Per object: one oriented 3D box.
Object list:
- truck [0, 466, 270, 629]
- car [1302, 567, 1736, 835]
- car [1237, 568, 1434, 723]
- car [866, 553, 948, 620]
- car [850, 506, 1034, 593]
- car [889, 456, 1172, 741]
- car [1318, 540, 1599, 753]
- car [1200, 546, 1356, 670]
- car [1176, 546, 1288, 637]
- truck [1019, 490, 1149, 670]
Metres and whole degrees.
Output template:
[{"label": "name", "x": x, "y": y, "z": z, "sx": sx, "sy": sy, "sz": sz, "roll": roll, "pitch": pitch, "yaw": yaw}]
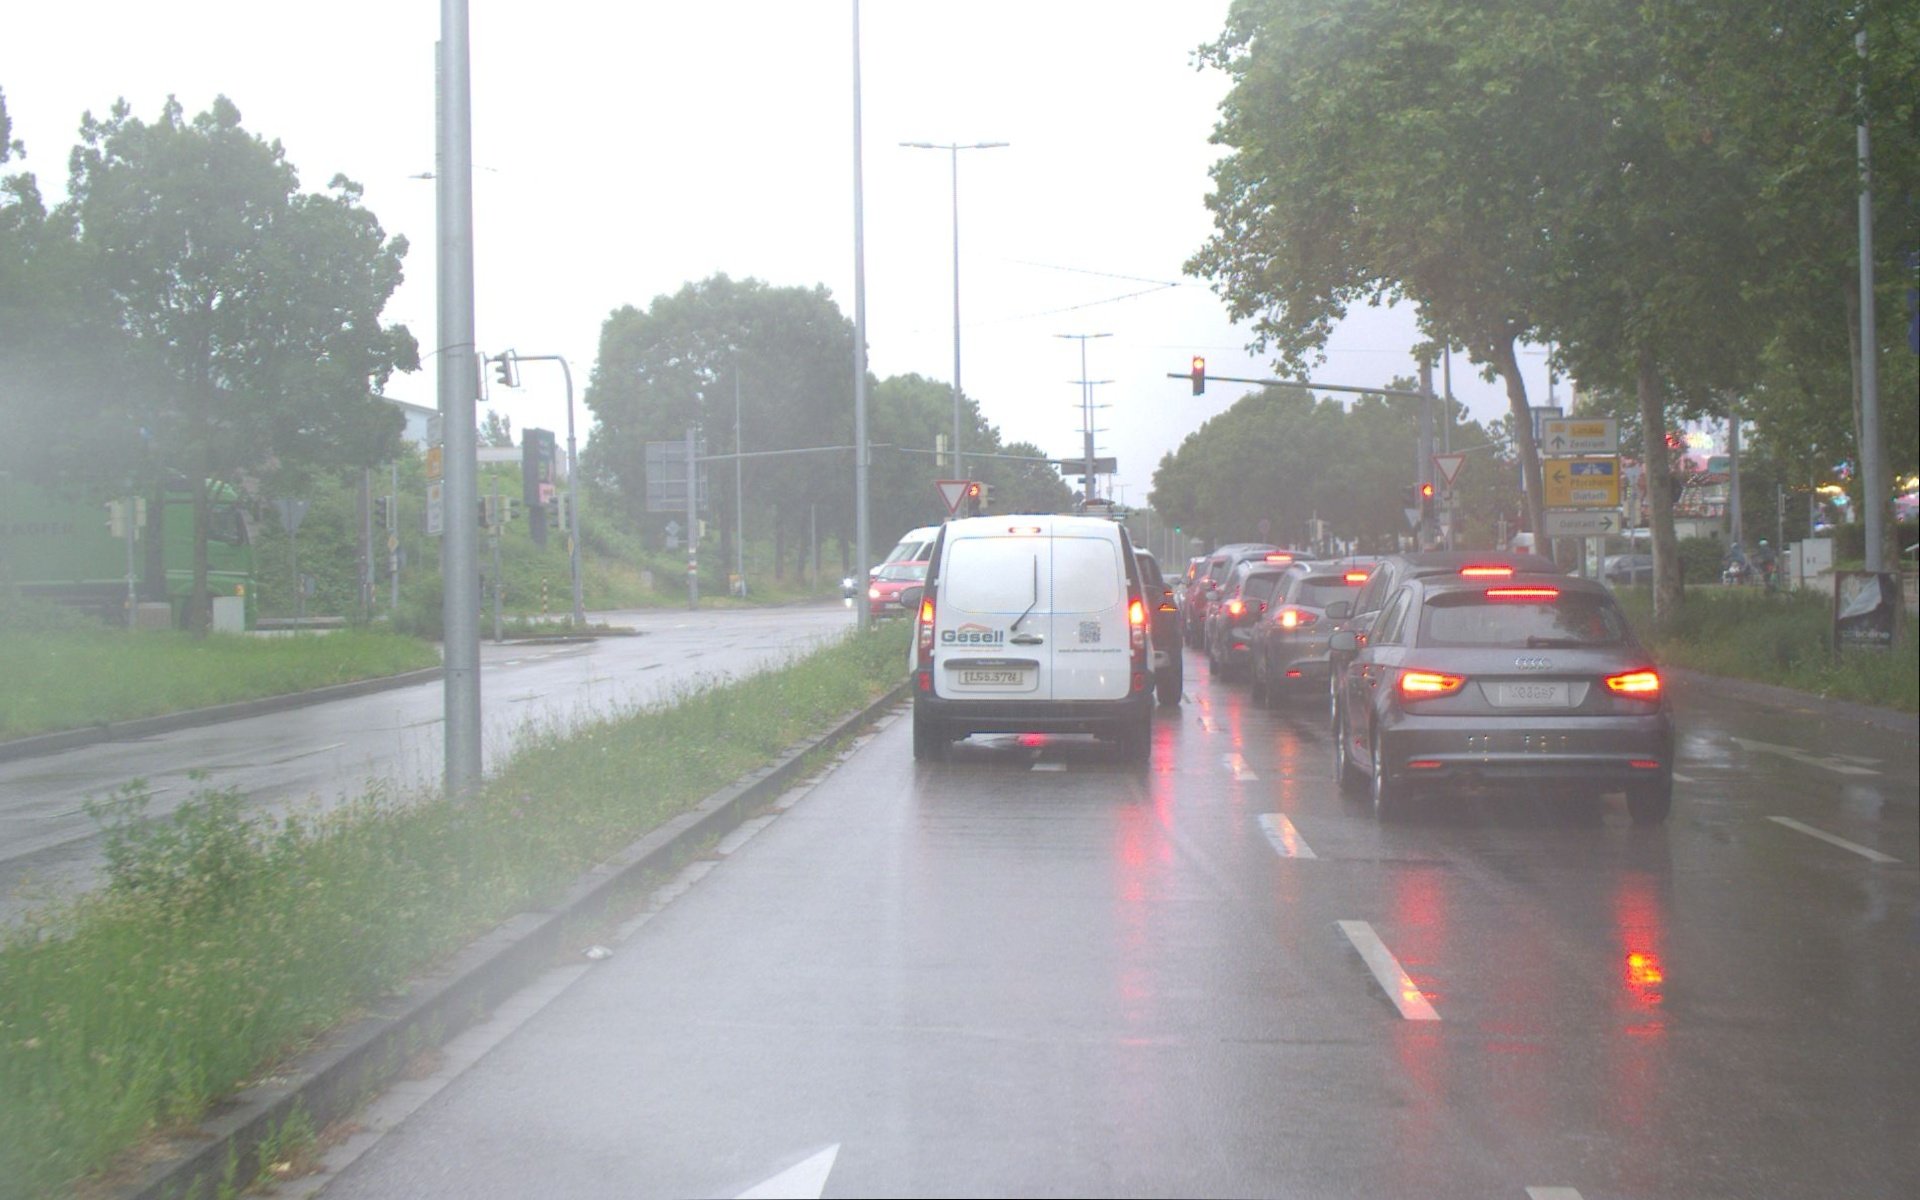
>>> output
[{"label": "truck", "x": -20.347, "y": -1.115, "z": 75.094, "sx": 10.109, "sy": 3.440, "sz": 2.658, "roll": 1, "pitch": -1, "yaw": -34}, {"label": "car", "x": 3.248, "y": 0.537, "z": 20.752, "sx": 1.993, "sy": 1.447, "sz": 4.000, "roll": 0, "pitch": 0, "yaw": 1}, {"label": "car", "x": 3.765, "y": 0.421, "z": 35.000, "sx": 1.711, "sy": 1.440, "sz": 4.000, "roll": 0, "pitch": 1, "yaw": 2}, {"label": "car", "x": -1.271, "y": -0.353, "z": 83.941, "sx": 1.716, "sy": 1.508, "sz": 3.614, "roll": -2, "pitch": 1, "yaw": 3}, {"label": "car", "x": -0.571, "y": -1.642, "z": 113.733, "sx": 6.001, "sy": 2.735, "sz": 2.000, "roll": 1, "pitch": -1, "yaw": -34}, {"label": "car", "x": 0.524, "y": -0.028, "z": 26.300, "sx": 1.993, "sy": 2.007, "sz": 4.000, "roll": 0, "pitch": 0, "yaw": 1}, {"label": "car", "x": 3.905, "y": 0.309, "z": 27.490, "sx": 1.708, "sy": 1.544, "sz": 4.000, "roll": 0, "pitch": 1, "yaw": 1}, {"label": "car", "x": 3.891, "y": 0.065, "z": 42.545, "sx": 1.711, "sy": 1.440, "sz": 4.000, "roll": 0, "pitch": 1, "yaw": 2}, {"label": "car", "x": 4.495, "y": -0.168, "z": 57.226, "sx": 1.711, "sy": 1.440, "sz": 4.000, "roll": 0, "pitch": 1, "yaw": 2}, {"label": "truck", "x": 1.728, "y": -0.291, "z": 49.084, "sx": 1.756, "sy": 2.458, "sz": 4.000, "roll": 0, "pitch": 0, "yaw": 1}]
